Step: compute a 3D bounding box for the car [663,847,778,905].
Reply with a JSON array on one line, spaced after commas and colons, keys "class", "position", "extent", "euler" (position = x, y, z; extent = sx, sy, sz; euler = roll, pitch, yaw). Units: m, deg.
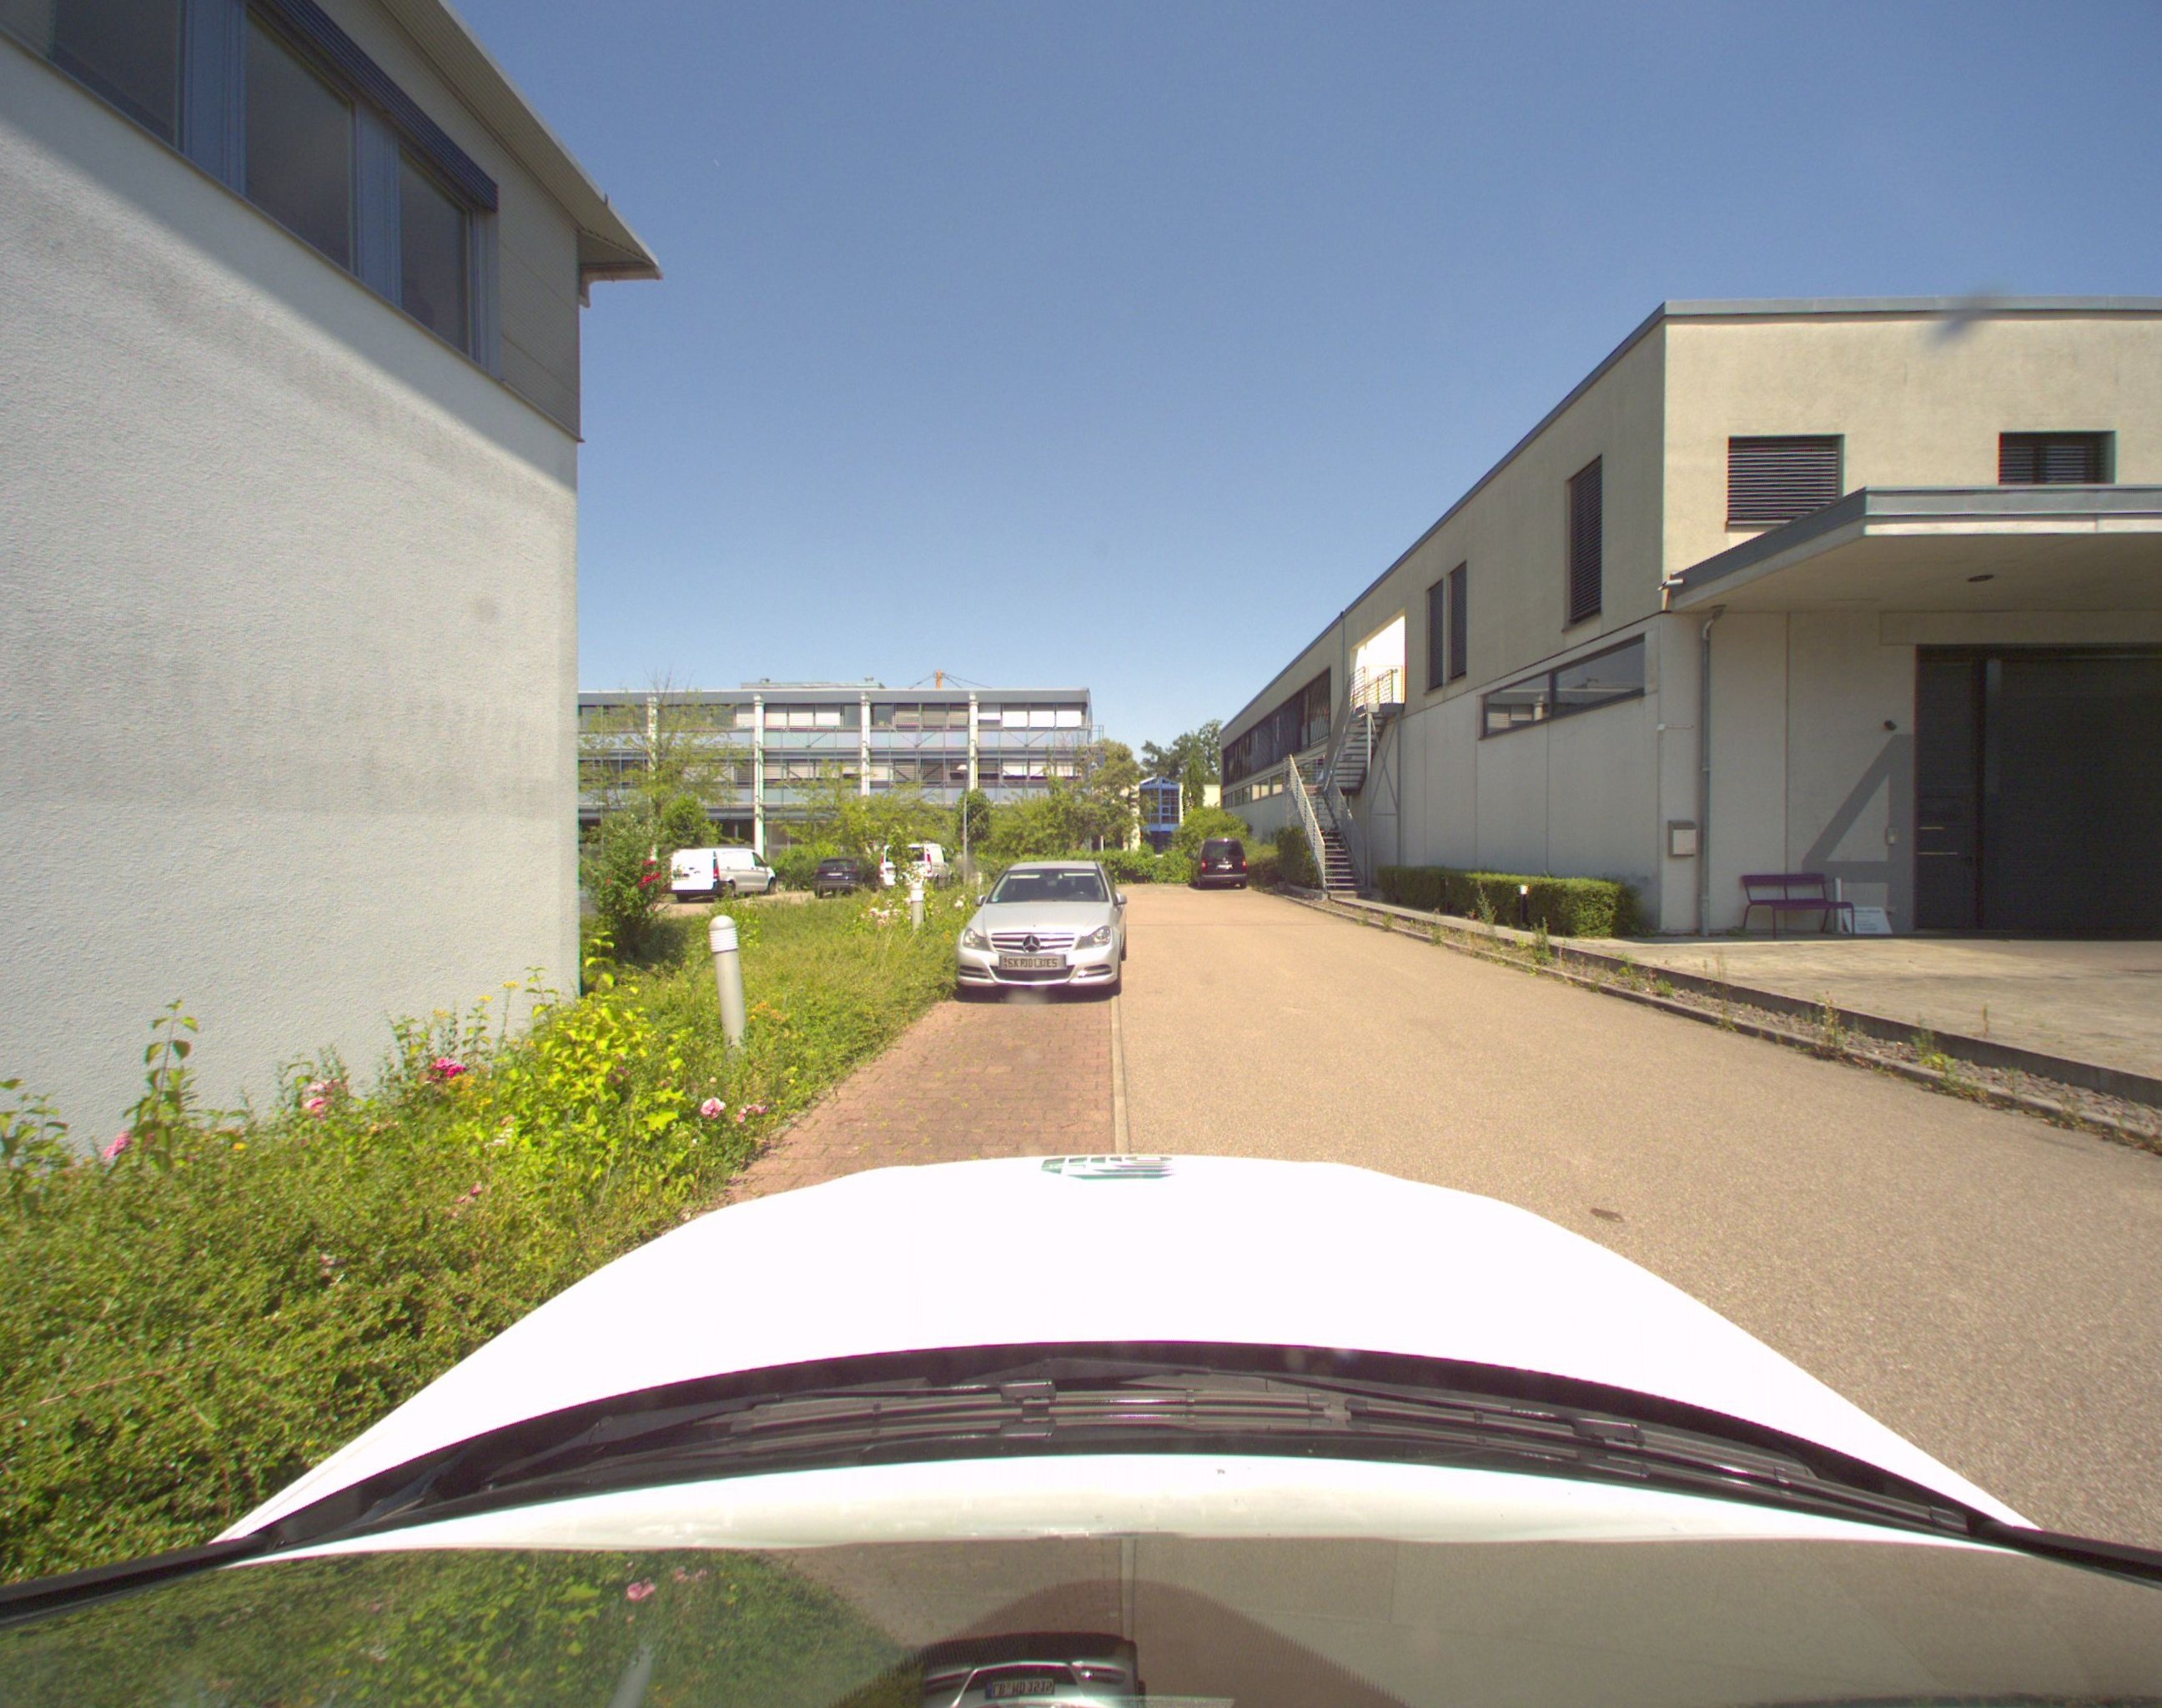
[{"class": "car", "position": [-13.198, 0.714, 30.158], "extent": [1.874, 1.891, 4.807], "euler": [-1, 1, 3]}]

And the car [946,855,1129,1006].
[{"class": "car", "position": [-0.315, 0.765, 10.156], "extent": [1.721, 1.457, 4.153], "euler": [-1, 0, 4]}]

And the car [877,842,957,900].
[{"class": "car", "position": [-5.981, 0.553, 30.273], "extent": [1.907, 1.905, 4.808], "euler": [-2, 1, 0]}]

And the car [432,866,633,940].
[{"class": "car", "position": [-13.356, 1.113, 20.236], "extent": [1.850, 1.472, 4.485], "euler": [-1, 1, 1]}]

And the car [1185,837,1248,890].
[{"class": "car", "position": [5.055, 0.298, 30.842], "extent": [1.737, 1.837, 4.001], "euler": [-1, 1, 1]}]

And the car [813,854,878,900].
[{"class": "car", "position": [-8.818, 0.804, 30.739], "extent": [1.753, 1.476, 3.989], "euler": [-2, 1, -8]}]
